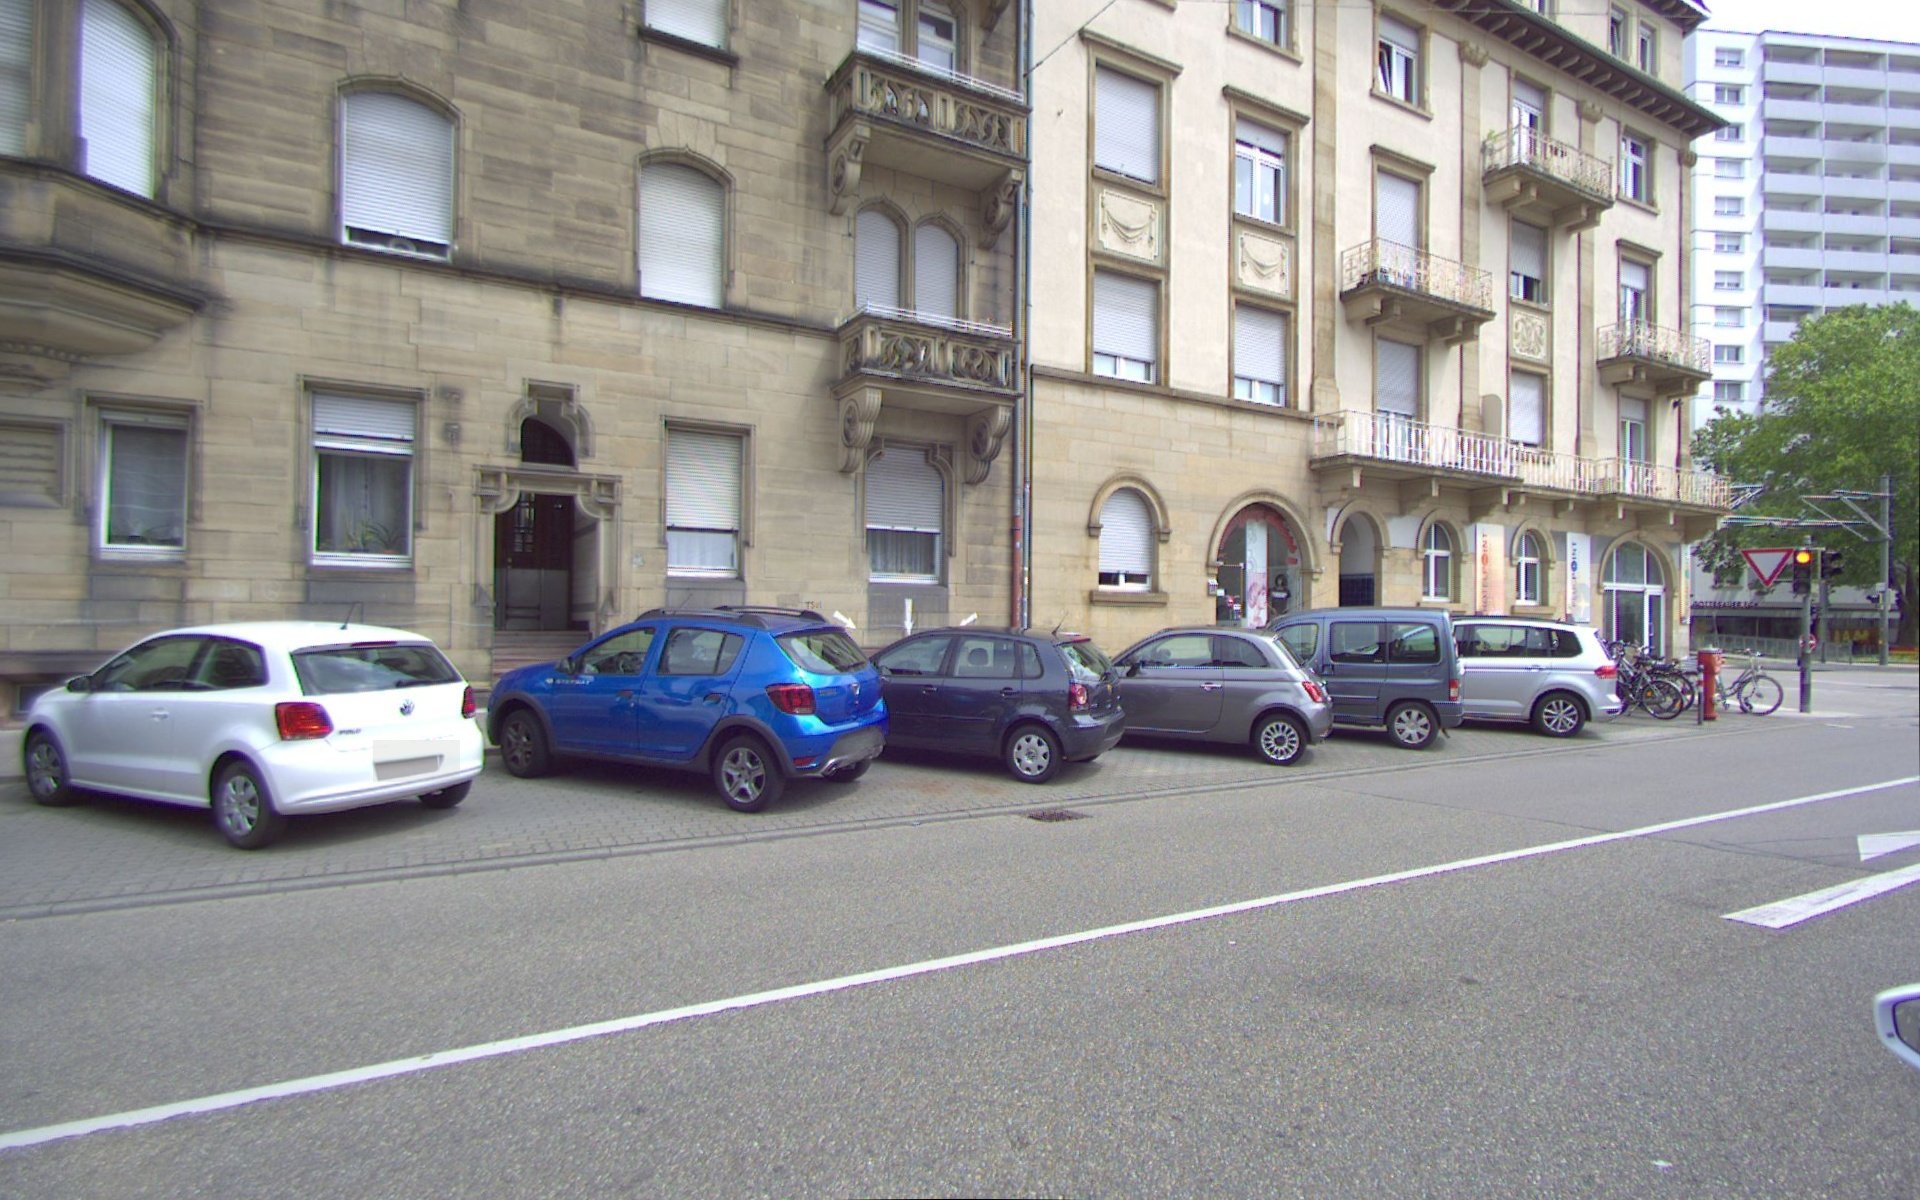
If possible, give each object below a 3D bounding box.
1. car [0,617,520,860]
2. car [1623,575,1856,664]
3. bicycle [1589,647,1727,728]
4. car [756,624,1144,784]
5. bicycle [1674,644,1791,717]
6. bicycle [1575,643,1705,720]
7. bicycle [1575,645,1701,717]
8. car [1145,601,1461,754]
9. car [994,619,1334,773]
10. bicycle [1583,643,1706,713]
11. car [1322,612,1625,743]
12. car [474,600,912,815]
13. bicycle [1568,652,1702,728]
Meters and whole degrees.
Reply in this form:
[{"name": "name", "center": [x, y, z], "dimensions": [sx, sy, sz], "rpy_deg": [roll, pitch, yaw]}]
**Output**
[{"name": "car", "center": [-5.460, 0.897, 7.838], "dimensions": [3.616, 1.501, 1.741], "rpy_deg": [0, -1, 25]}, {"name": "car", "center": [38.227, 0.979, 49.975], "dimensions": [3.389, 3.967, 9.911], "rpy_deg": [0, -1, -5]}, {"name": "bicycle", "center": [11.669, 1.427, 16.856], "dimensions": [0.586, 1.135, 1.803], "rpy_deg": [1, 2, -25]}, {"name": "car", "center": [-0.102, 1.008, 10.995], "dimensions": [3.830, 1.463, 1.836], "rpy_deg": [0, -1, 25]}, {"name": "bicycle", "center": [14.270, 1.464, 18.616], "dimensions": [0.489, 1.182, 1.878], "rpy_deg": [2, 1, -9]}, {"name": "bicycle", "center": [11.998, 1.407, 17.774], "dimensions": [0.588, 1.182, 1.796], "rpy_deg": [1, 1, -37]}, {"name": "bicycle", "center": [12.360, 1.452, 18.368], "dimensions": [0.588, 1.135, 1.796], "rpy_deg": [1, 1, -37]}, {"name": "car", "center": [4.720, 0.984, 14.036], "dimensions": [3.934, 1.903, 1.796], "rpy_deg": [0, -1, 22]}, {"name": "car", "center": [2.582, 1.083, 12.610], "dimensions": [3.934, 1.673, 1.796], "rpy_deg": [0, -1, 22]}, {"name": "bicycle", "center": [12.854, 1.437, 18.899], "dimensions": [0.588, 1.135, 1.796], "rpy_deg": [1, 1, -37]}, {"name": "car", "center": [7.679, 1.102, 15.433], "dimensions": [3.934, 1.797, 1.796], "rpy_deg": [0, -1, 22]}, {"name": "car", "center": [-2.492, 0.864, 9.387], "dimensions": [3.706, 1.673, 1.723], "rpy_deg": [0, -1, 24]}, {"name": "bicycle", "center": [11.078, 1.449, 16.558], "dimensions": [0.586, 1.135, 1.805], "rpy_deg": [1, -1, -23]}]
